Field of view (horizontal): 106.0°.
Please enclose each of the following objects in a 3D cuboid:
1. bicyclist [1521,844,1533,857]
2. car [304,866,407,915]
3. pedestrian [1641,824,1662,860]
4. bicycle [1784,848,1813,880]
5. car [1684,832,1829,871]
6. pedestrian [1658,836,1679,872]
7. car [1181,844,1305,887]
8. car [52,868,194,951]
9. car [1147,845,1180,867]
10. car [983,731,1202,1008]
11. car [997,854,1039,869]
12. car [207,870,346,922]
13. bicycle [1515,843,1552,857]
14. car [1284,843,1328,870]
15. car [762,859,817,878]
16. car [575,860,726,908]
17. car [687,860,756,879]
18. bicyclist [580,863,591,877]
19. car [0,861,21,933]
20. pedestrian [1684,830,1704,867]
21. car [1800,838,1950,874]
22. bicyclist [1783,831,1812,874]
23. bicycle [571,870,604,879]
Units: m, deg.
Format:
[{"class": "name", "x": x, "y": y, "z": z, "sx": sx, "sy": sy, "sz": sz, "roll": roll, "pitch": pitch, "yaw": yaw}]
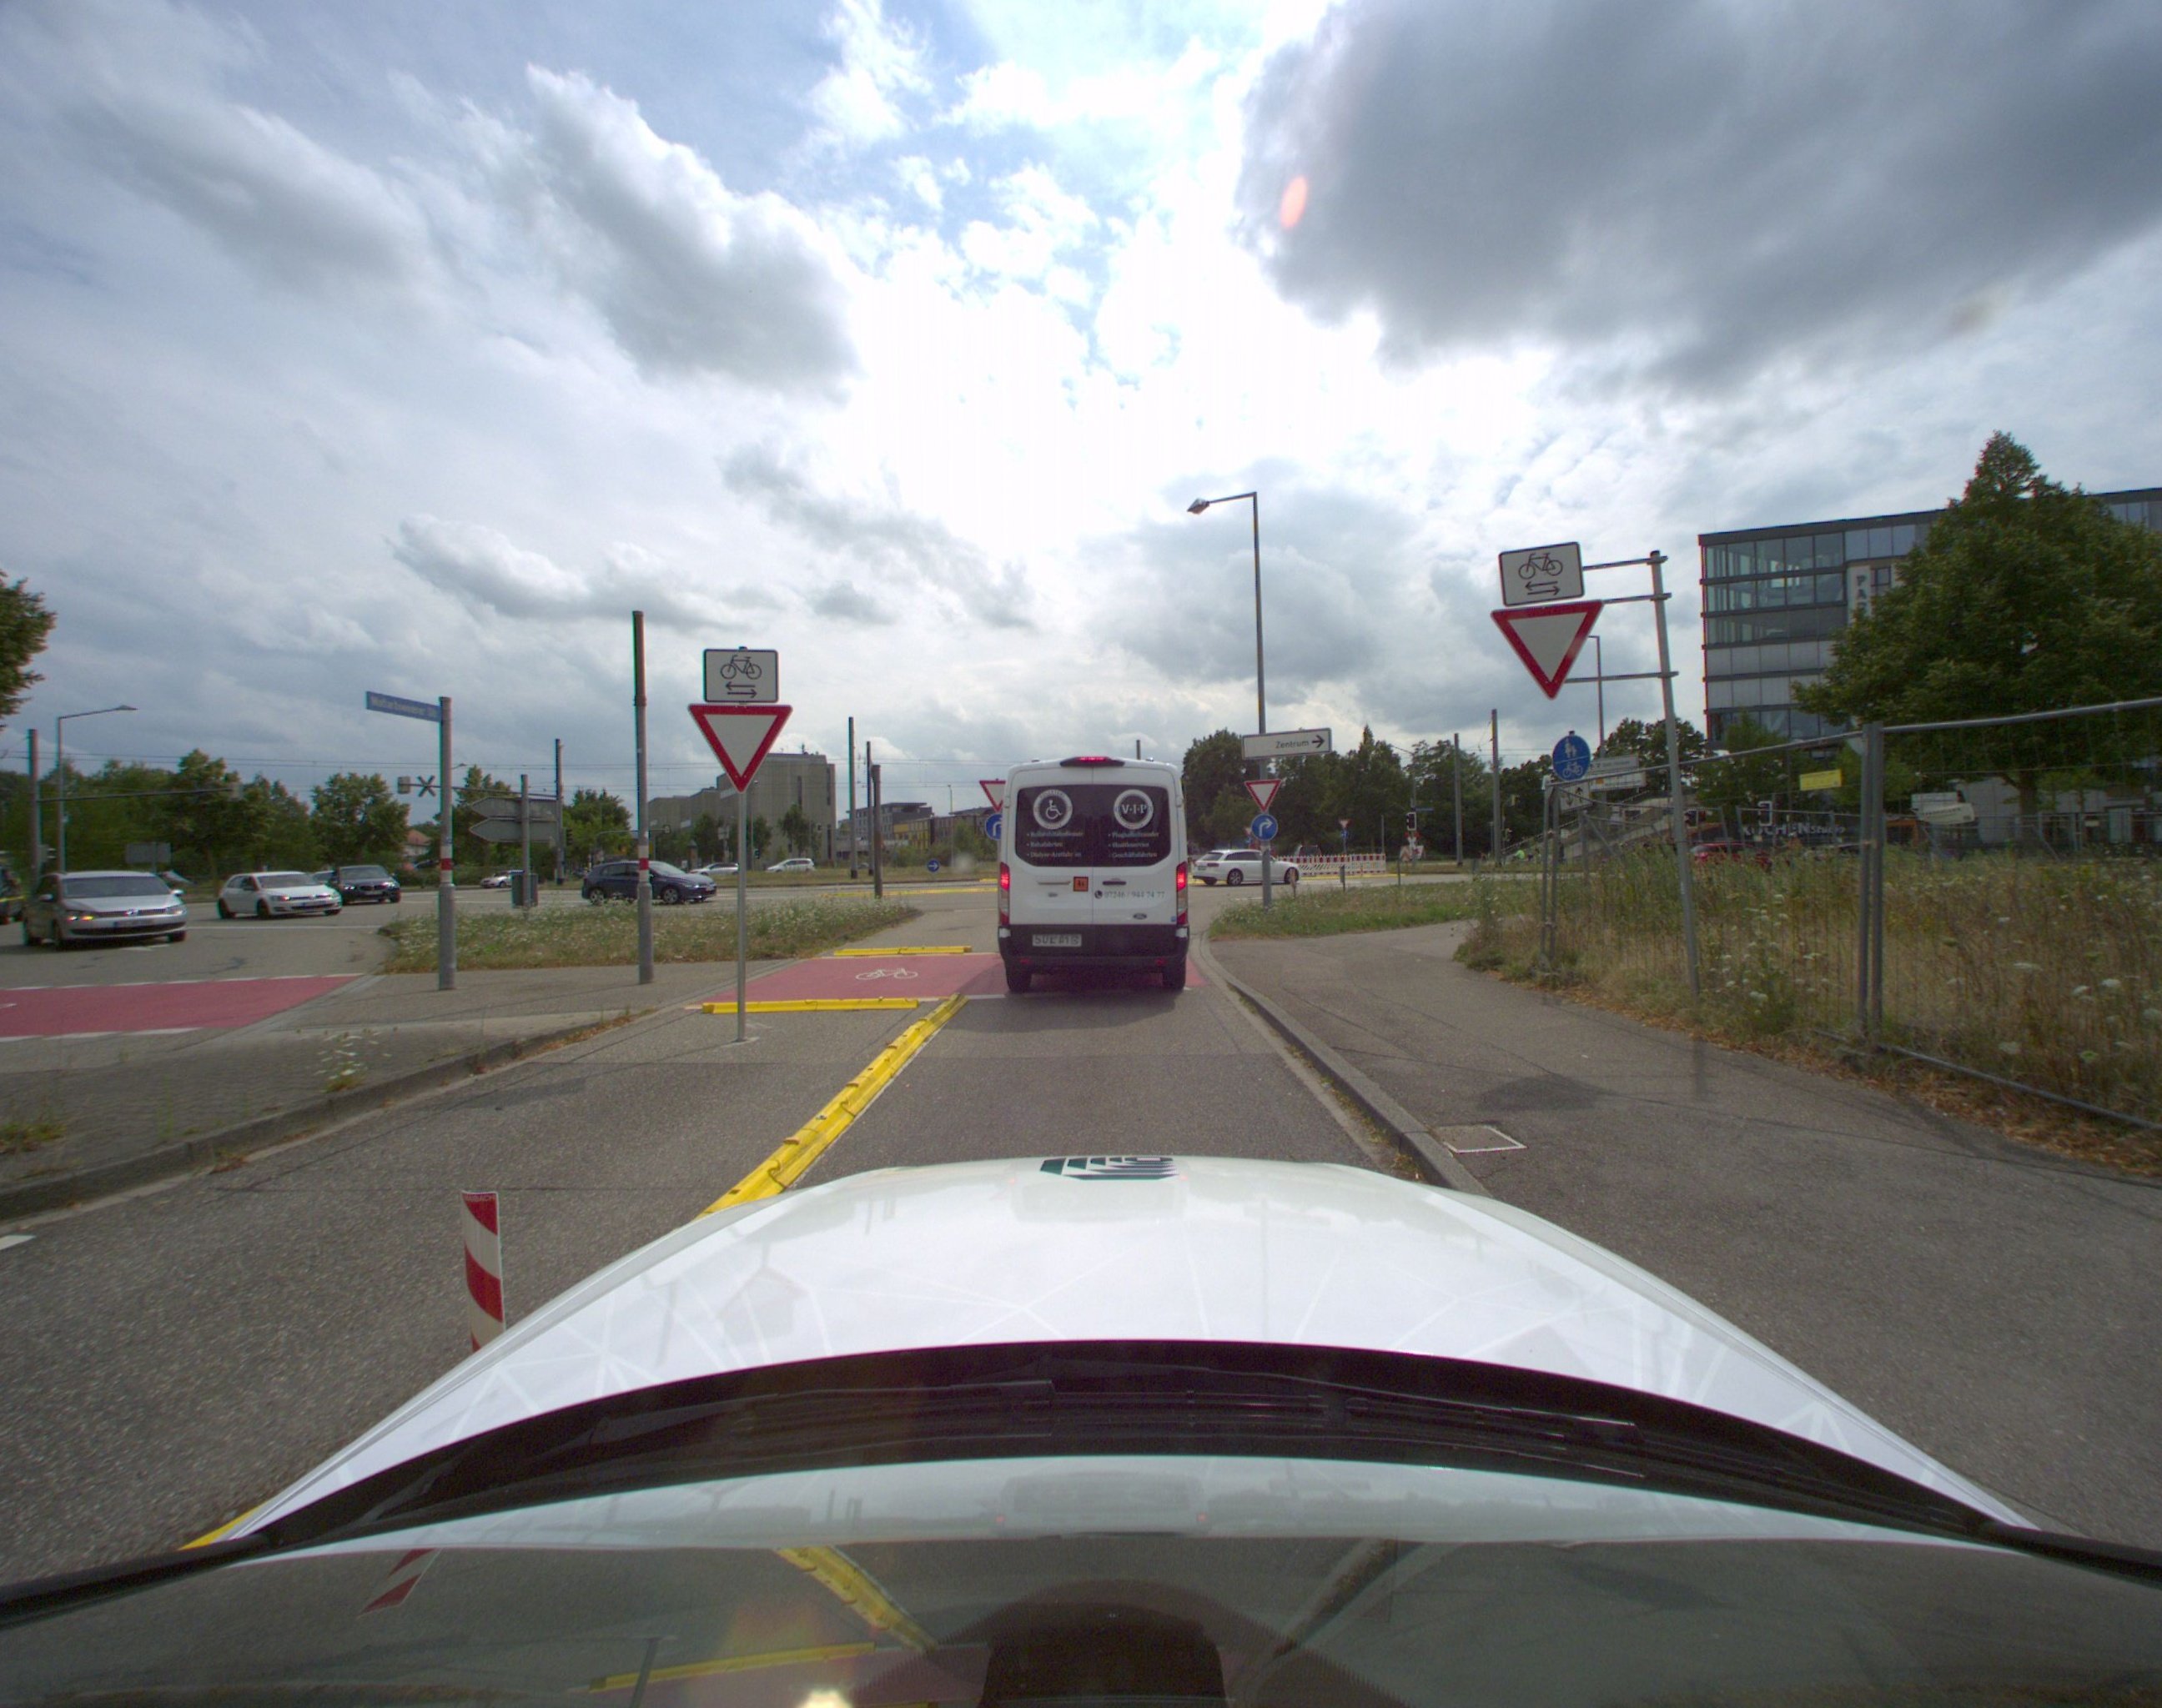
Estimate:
[{"class": "bicyclist", "x": 32.063, "y": -0.244, "z": 58.529, "sx": 0.650, "sy": 0.884, "sz": 0.611, "roll": -2, "pitch": -2, "yaw": 40}, {"class": "car", "x": -29.632, "y": 1.466, "z": 33.245, "sx": 4.199, "sy": 1.859, "sz": 1.802, "roll": -2, "pitch": 0, "yaw": 29}, {"class": "pedestrian", "x": 28.439, "y": -0.587, "z": 40.611, "sx": 0.684, "sy": 1.781, "sz": 0.554, "roll": -1, "pitch": 0, "yaw": 8}, {"class": "bicycle", "x": 27.690, "y": 0.378, "z": 31.436, "sx": 0.781, "sy": 1.168, "sz": 2.054, "roll": -2, "pitch": -1, "yaw": 42}, {"class": "car", "x": 30.743, "y": -0.089, "z": 37.216, "sx": 4.708, "sy": 1.618, "sz": 2.005, "roll": -1, "pitch": 0, "yaw": 9}, {"class": "pedestrian", "x": 29.208, "y": 0.017, "z": 40.504, "sx": 0.628, "sy": 1.781, "sz": 0.554, "roll": -1, "pitch": 0, "yaw": 8}, {"class": "car", "x": 6.699, "y": 0.435, "z": 33.606, "sx": 4.761, "sy": 1.618, "sz": 1.983, "roll": -1, "pitch": -1, "yaw": -26}, {"class": "car", "x": -21.984, "y": 1.184, "z": 18.641, "sx": 4.686, "sy": 1.622, "sz": 1.813, "roll": -1, "pitch": 0, "yaw": 37}, {"class": "car", "x": 8.875, "y": 0.261, "z": 87.933, "sx": 2.030, "sy": 2.279, "sz": 4.134, "roll": 0, "pitch": -2, "yaw": -18}, {"class": "car", "x": 0.367, "y": 0.177, "z": 10.864, "sx": 2.116, "sy": 2.697, "sz": 5.640, "roll": -1, "pitch": 0, "yaw": 5}, {"class": "car", "x": -7.076, "y": 0.851, "z": 91.376, "sx": 4.377, "sy": 1.666, "sz": 1.916, "roll": -1, "pitch": 0, "yaw": -39}, {"class": "car", "x": -25.780, "y": 1.313, "z": 26.099, "sx": 4.207, "sy": 1.497, "sz": 1.812, "roll": -1, "pitch": 0, "yaw": 25}, {"class": "bicycle", "x": 32.366, "y": -0.266, "z": 58.280, "sx": 2.176, "sy": 0.938, "sz": 0.618, "roll": -2, "pitch": -2, "yaw": 41}, {"class": "car", "x": 15.554, "y": 0.198, "z": 56.562, "sx": 1.986, "sy": 1.750, "sz": 4.000, "roll": -1, "pitch": -2, "yaw": 1}, {"class": "car", "x": -27.296, "y": 1.310, "z": 76.336, "sx": 4.380, "sy": 1.666, "sz": 1.914, "roll": -1, "pitch": -1, "yaw": -44}, {"class": "car", "x": -14.464, "y": 0.990, "z": 27.500, "sx": 4.086, "sy": 1.497, "sz": 1.803, "roll": -1, "pitch": 0, "yaw": 3}, {"class": "car", "x": -31.826, "y": 1.353, "z": 72.158, "sx": 5.212, "sy": 1.482, "sz": 1.976, "roll": -1, "pitch": 0, "yaw": -43}, {"class": "bicyclist", "x": -50.400, "y": 1.583, "z": 82.762, "sx": 0.853, "sy": 1.409, "sz": 0.678, "roll": -2, "pitch": 0, "yaw": 37}, {"class": "car", "x": -37.052, "y": 1.436, "z": 26.708, "sx": 5.094, "sy": 2.273, "sz": 2.012, "roll": -2, "pitch": 0, "yaw": 29}, {"class": "pedestrian", "x": 29.874, "y": -0.290, "z": 39.704, "sx": 0.575, "sy": 1.781, "sz": 0.554, "roll": -1, "pitch": 0, "yaw": 8}, {"class": "car", "x": 32.751, "y": 0.086, "z": 33.721, "sx": 3.958, "sy": 1.374, "sz": 2.008, "roll": -2, "pitch": 0, "yaw": 14}, {"class": "bicyclist", "x": 27.726, "y": -0.065, "z": 31.500, "sx": 0.781, "sy": 1.627, "sz": 1.055, "roll": -2, "pitch": -1, "yaw": 42}, {"class": "bicycle", "x": -50.251, "y": 2.058, "z": 82.935, "sx": 0.853, "sy": 0.855, "sz": 2.676, "roll": -2, "pitch": 0, "yaw": 37}]
